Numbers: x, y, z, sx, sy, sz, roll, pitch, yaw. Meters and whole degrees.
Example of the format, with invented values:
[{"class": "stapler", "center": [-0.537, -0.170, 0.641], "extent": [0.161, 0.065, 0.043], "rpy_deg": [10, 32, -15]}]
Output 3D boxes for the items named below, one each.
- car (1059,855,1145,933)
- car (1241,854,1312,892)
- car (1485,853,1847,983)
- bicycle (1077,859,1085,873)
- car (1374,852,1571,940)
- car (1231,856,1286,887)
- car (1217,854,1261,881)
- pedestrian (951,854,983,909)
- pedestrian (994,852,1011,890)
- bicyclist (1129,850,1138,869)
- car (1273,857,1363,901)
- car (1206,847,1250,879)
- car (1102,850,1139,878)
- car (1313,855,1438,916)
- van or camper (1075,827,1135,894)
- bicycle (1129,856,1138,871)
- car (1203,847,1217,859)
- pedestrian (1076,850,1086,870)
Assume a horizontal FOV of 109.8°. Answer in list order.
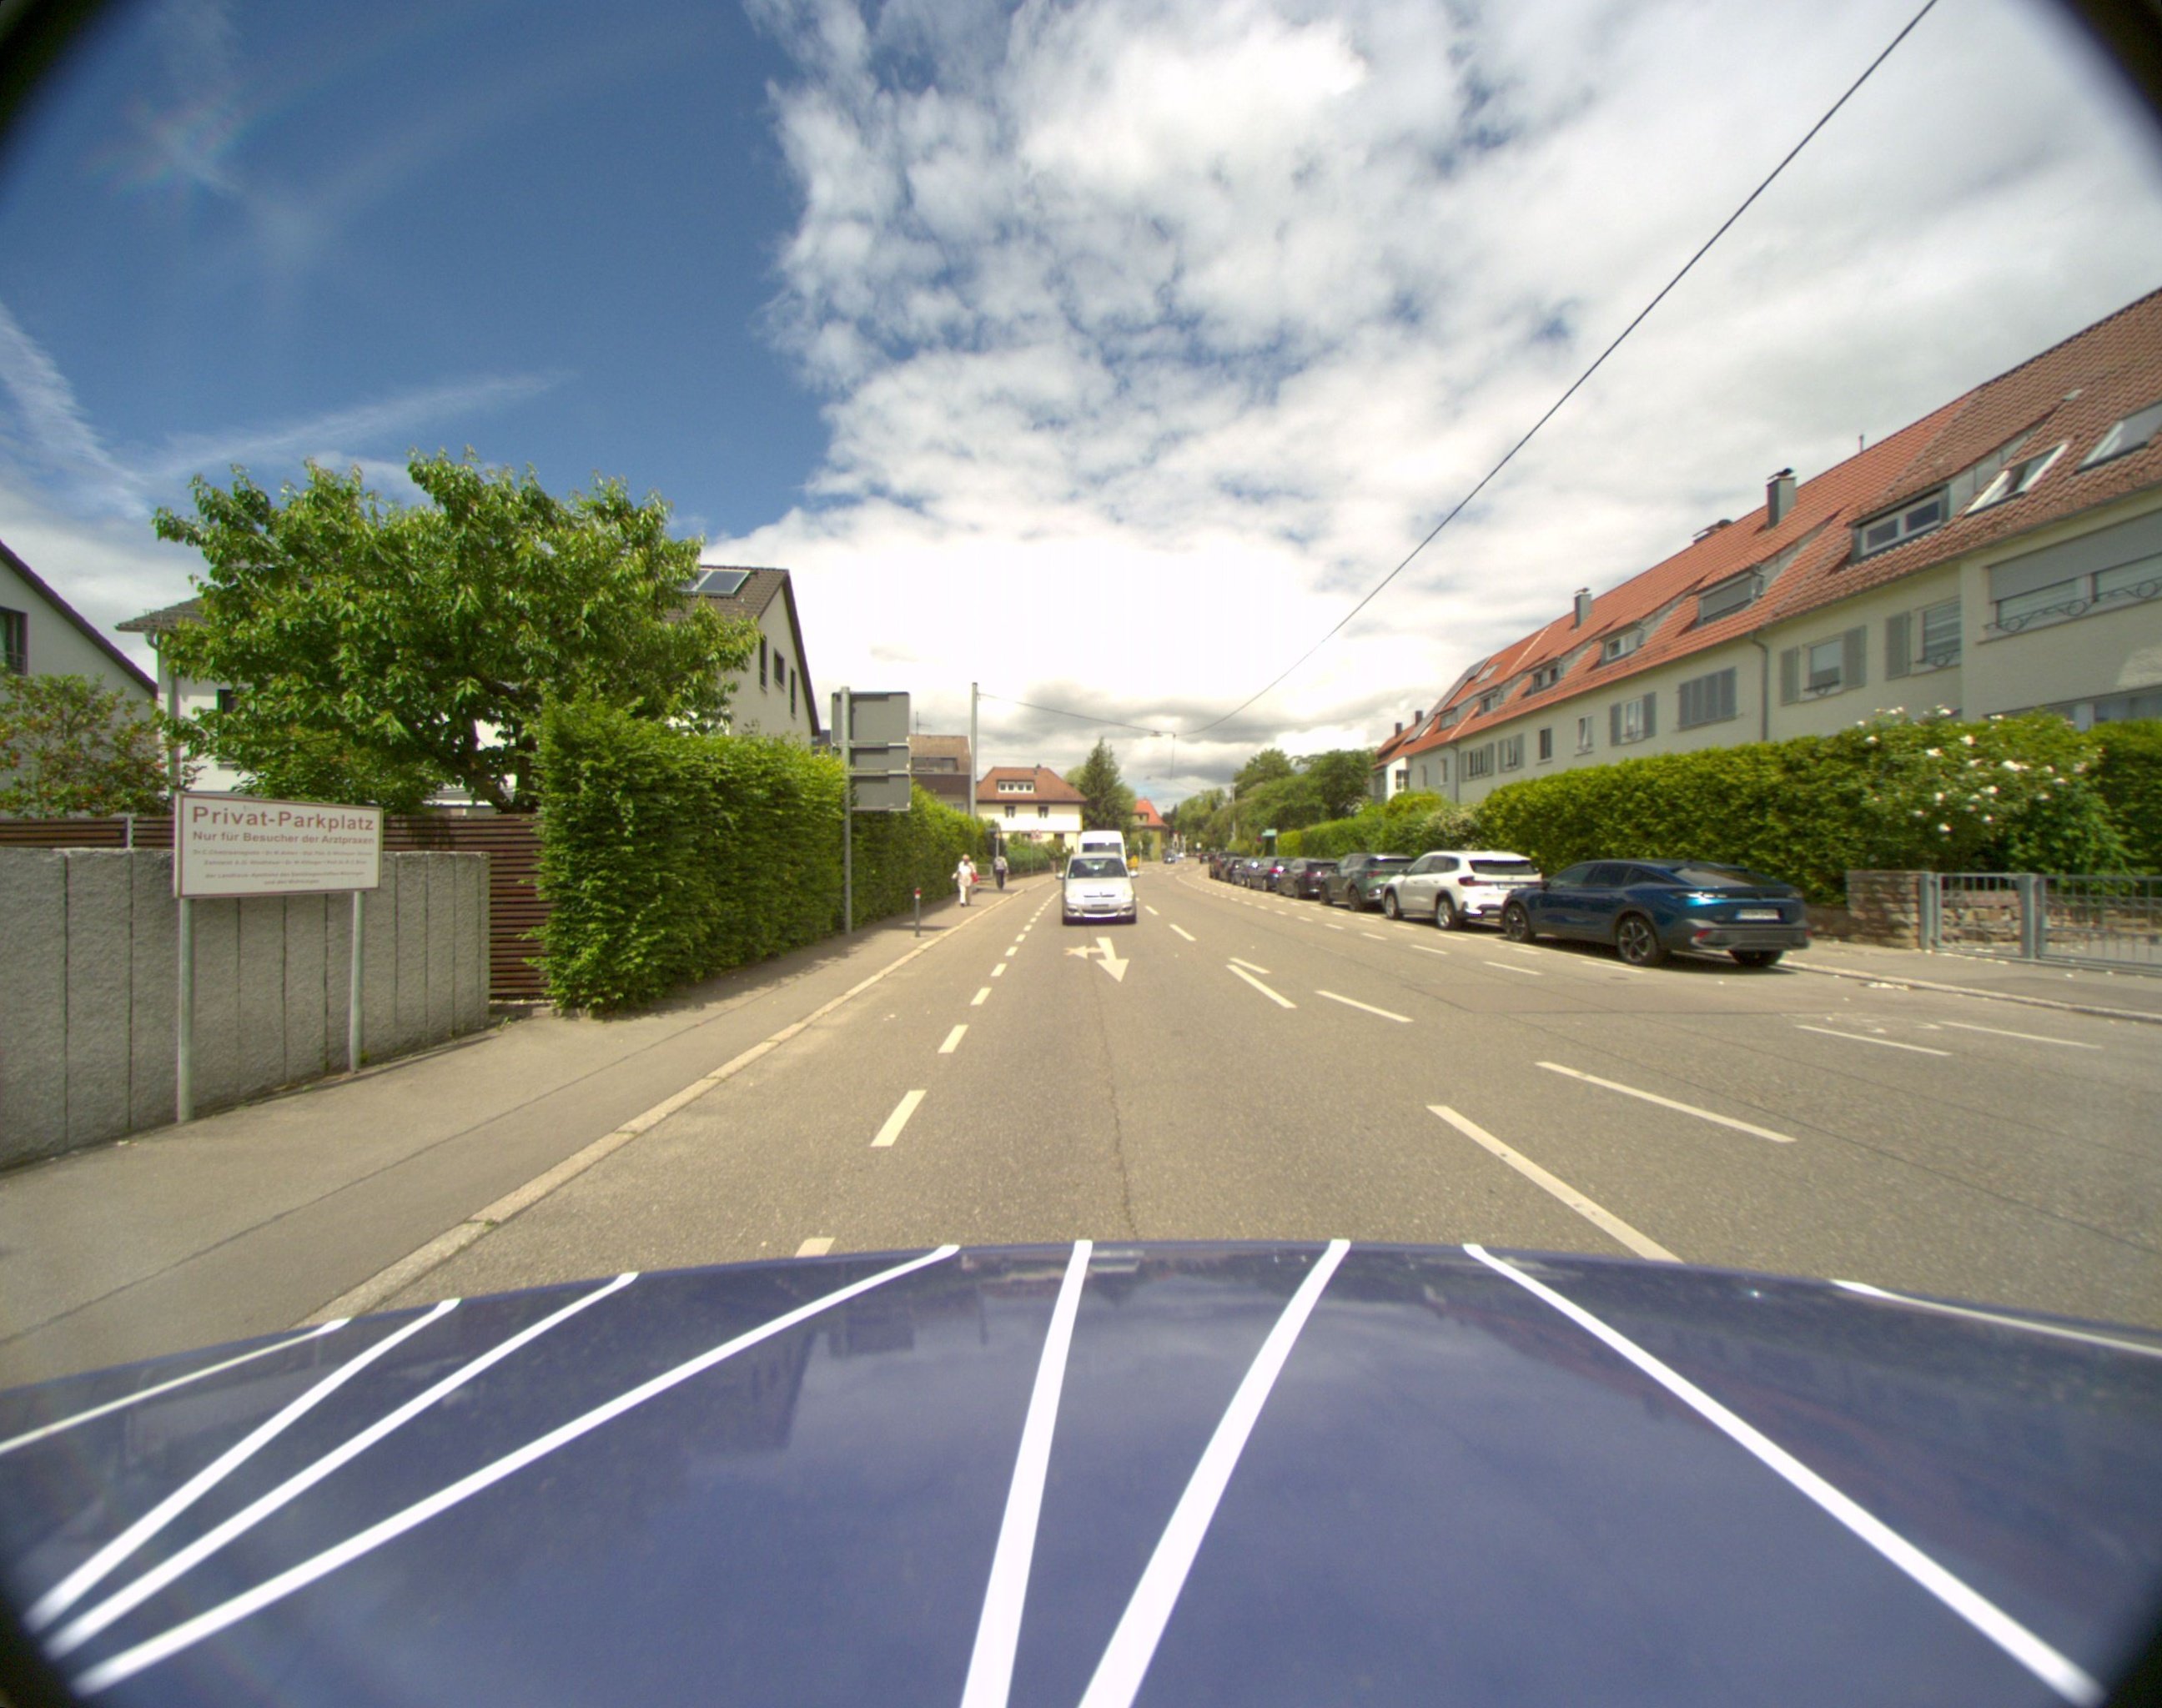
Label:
[{"class": "car", "center": [0.554, 0.821, 17.718], "extent": [1.708, 1.531, 4.331], "rpy_deg": [-2, 0, 3]}, {"class": "car", "center": [8.385, 0.784, 33.039], "extent": [1.782, 1.483, 4.564], "rpy_deg": [0, 0, -2]}, {"class": "car", "center": [8.404, 0.783, 11.610], "extent": [1.999, 1.578, 4.488], "rpy_deg": [0, 0, -1]}, {"class": "bicycle", "center": [0.019, 0.932, 59.767], "extent": [0.536, 1.039, 2.409], "rpy_deg": [-1, 0, 1]}, {"class": "car", "center": [8.278, 0.787, 16.637], "extent": [1.998, 1.641, 4.517], "rpy_deg": [0, 0, 0]}, {"class": "car", "center": [8.731, 0.831, 37.772], "extent": [1.782, 1.409, 4.440], "rpy_deg": [0, 0, 1]}, {"class": "car", "center": [9.000, 0.752, 43.517], "extent": [1.782, 1.409, 4.340], "rpy_deg": [0, 0, 3]}, {"class": "pedestrian", "center": [-3.404, 0.809, 22.721], "extent": [0.801, 1.608, 0.653], "rpy_deg": [1, 1, 2]}, {"class": "pedestrian", "center": [-3.350, 0.722, 32.414], "extent": [0.604, 1.596, 0.836], "rpy_deg": [1, 1, 2]}, {"class": "bicyclist", "center": [4.798, 0.532, 69.290], "extent": [0.794, 1.704, 1.209], "rpy_deg": [0, 1, 5]}, {"class": "car", "center": [8.456, 0.832, 27.543], "extent": [1.998, 1.400, 4.690], "rpy_deg": [0, 0, 3]}, {"class": "car", "center": [9.399, 0.515, 48.941], "extent": [1.998, 1.884, 5.404], "rpy_deg": [1, 1, 3]}, {"class": "car", "center": [2.769, 0.660, 51.993], "extent": [1.931, 1.771, 4.003], "rpy_deg": [-2, 0, 11]}, {"class": "car", "center": [8.363, 0.817, 22.061], "extent": [1.998, 1.555, 4.690], "rpy_deg": [0, 0, 3]}, {"class": "van or camper", "center": [1.139, 0.285, 32.948], "extent": [2.029, 2.564, 5.926], "rpy_deg": [-2, -1, 7]}, {"class": "bicycle", "center": [4.816, 0.824, 69.464], "extent": [0.865, 1.294, 2.662], "rpy_deg": [0, 0, 4]}, {"class": "car", "center": [19.765, -0.186, 116.221], "extent": [1.919, 1.639, 4.297], "rpy_deg": [3, 1, 11]}, {"class": "pedestrian", "center": [0.026, 0.460, 59.825], "extent": [0.736, 1.508, 0.872], "rpy_deg": [-1, 1, 0]}]
